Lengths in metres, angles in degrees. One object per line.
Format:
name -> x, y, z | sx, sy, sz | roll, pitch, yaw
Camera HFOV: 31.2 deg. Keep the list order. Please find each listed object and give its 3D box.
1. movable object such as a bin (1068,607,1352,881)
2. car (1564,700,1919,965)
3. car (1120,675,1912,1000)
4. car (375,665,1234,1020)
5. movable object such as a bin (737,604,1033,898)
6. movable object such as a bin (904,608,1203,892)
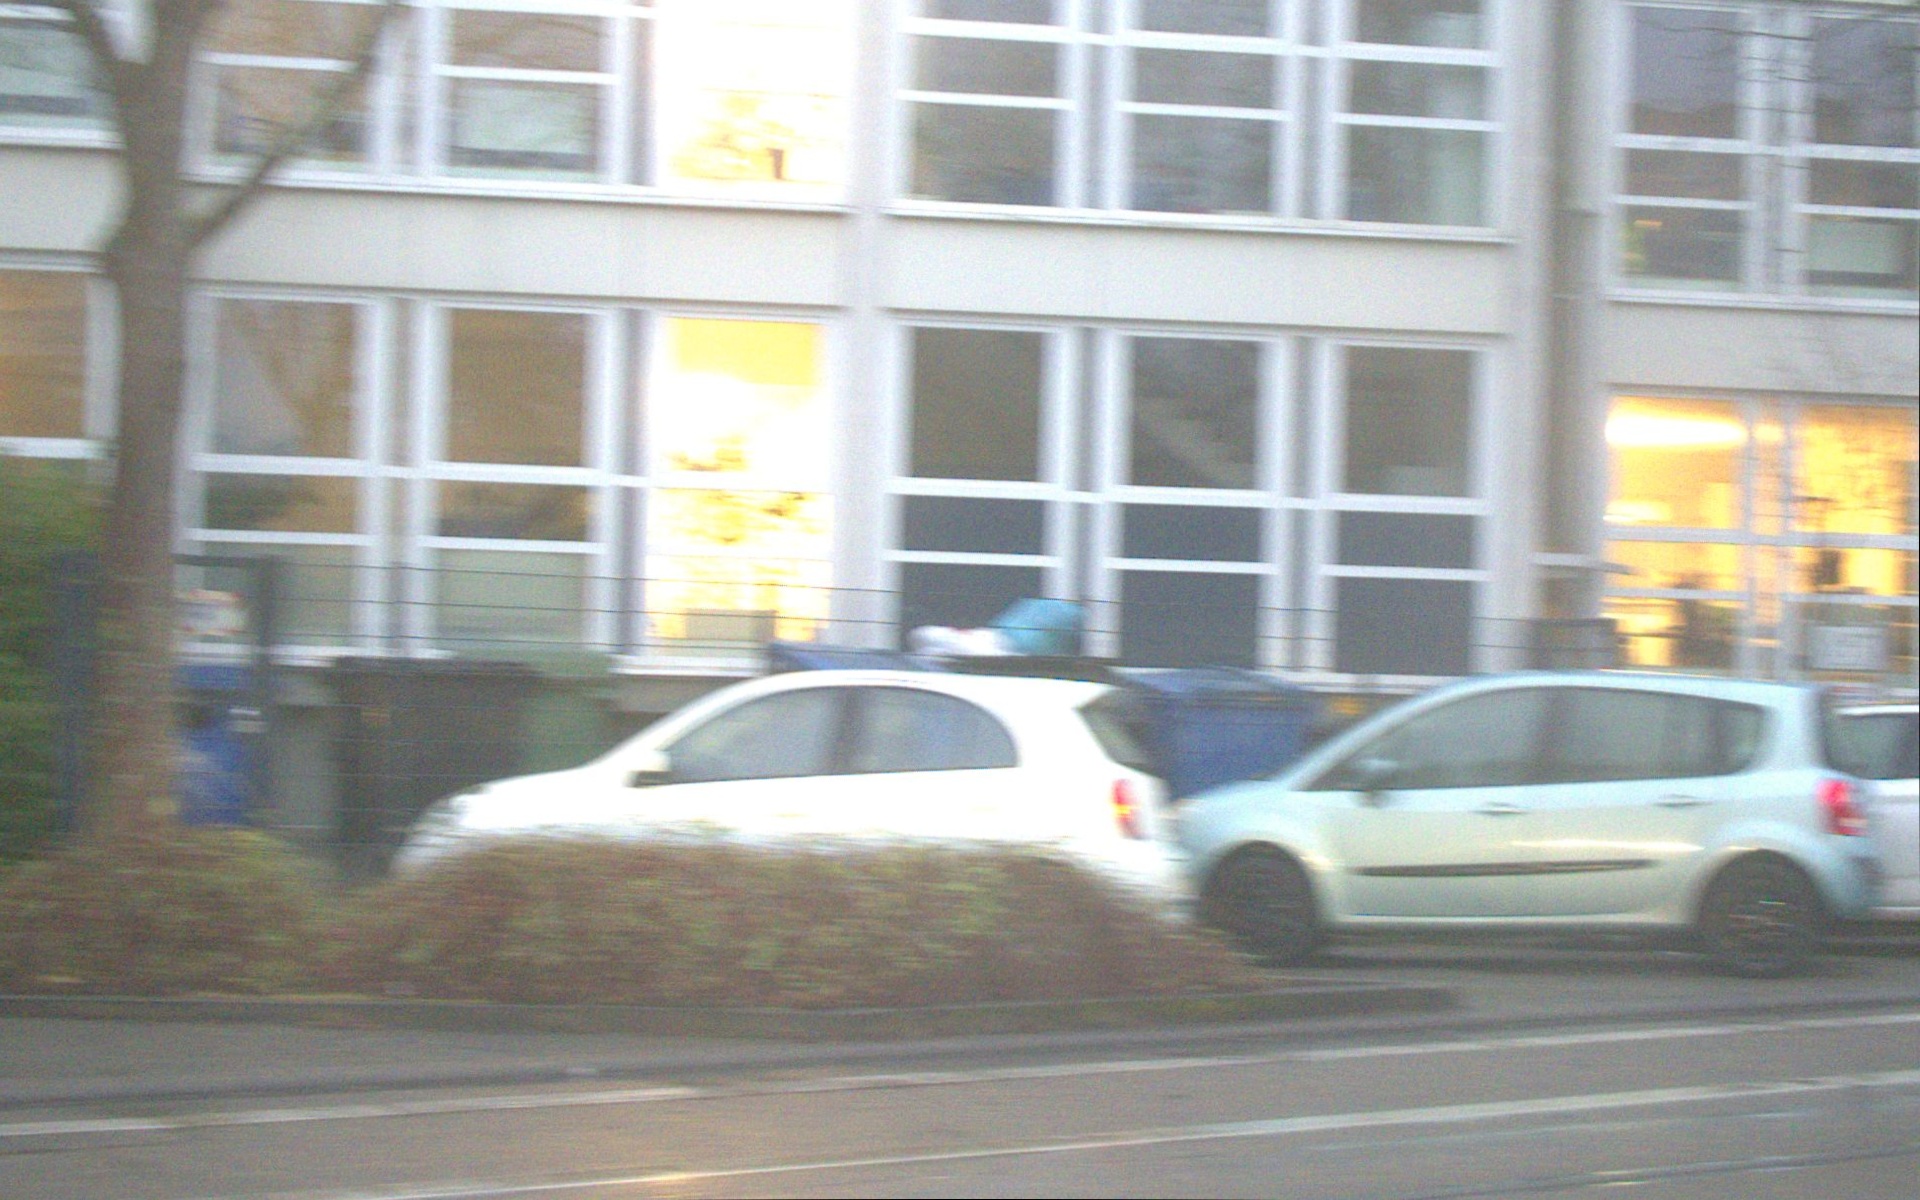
movable object such as a bin -> 1.754, 0.980, 24.276 | 1.313, 1.854, 1.575 | 0, -1, -34
car -> 5.670, 1.347, 19.912 | 3.991, 1.439, 1.734 | 0, -3, 22
car -> 2.986, 1.211, 18.415 | 3.989, 1.558, 1.735 | 0, -1, 13
car -> -0.689, 1.115, 16.666 | 3.865, 1.546, 1.692 | 1, -1, 10
movable object such as a bin -> -0.508, 0.960, 22.725 | 1.313, 1.854, 1.575 | 0, -1, -34
movable object such as a bin -> 0.625, 0.989, 23.510 | 1.389, 1.854, 1.575 | 0, -1, -34
